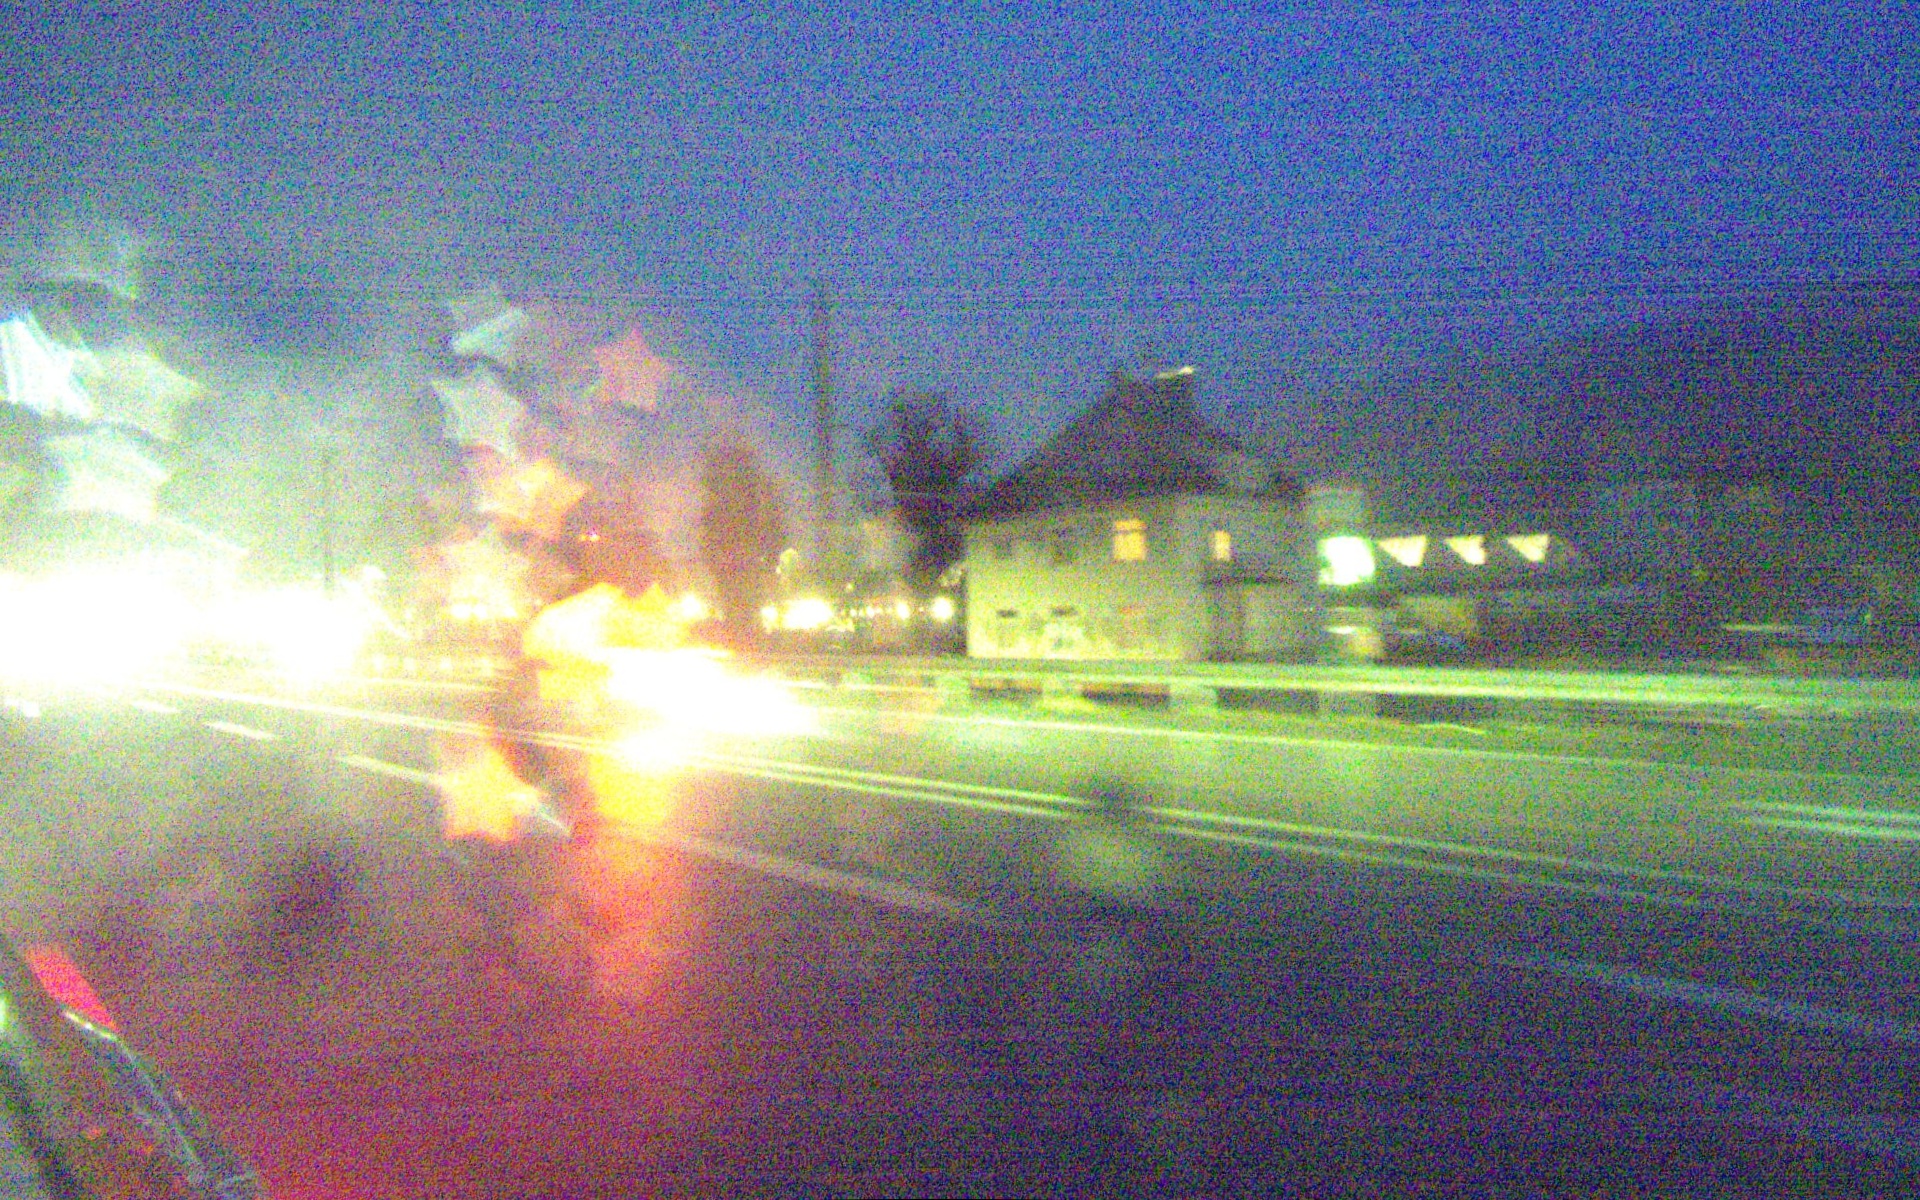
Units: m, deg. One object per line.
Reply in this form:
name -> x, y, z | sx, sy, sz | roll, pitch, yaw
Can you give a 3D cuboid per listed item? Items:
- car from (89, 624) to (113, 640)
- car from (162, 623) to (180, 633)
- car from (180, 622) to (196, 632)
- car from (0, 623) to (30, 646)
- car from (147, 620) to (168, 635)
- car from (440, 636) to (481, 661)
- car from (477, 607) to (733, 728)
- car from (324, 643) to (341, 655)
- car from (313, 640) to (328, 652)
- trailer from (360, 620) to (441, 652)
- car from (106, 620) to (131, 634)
car -> -114.785, 4.318, 135.323 | 1.967, 2.029, 4.011 | -1, 0, -34
car -> -127.444, 4.578, 163.445 | 1.774, 1.531, 4.548 | 0, -1, -32
car -> -136.114, 4.742, 178.485 | 1.664, 1.693, 3.478 | 0, -1, -28
car -> -86.761, 3.168, 92.923 | 1.970, 2.029, 4.003 | -1, 0, -44
car -> -118.838, 4.003, 149.900 | 1.966, 2.090, 4.011 | -1, 0, -33
car -> -43.449, 4.160, 87.975 | 4.002, 2.029, 1.971 | -1, 0, 45
car -> -5.537, 0.954, 15.634 | 3.892, 1.612, 1.864 | -1, 0, 37
car -> -89.111, 6.957, 143.739 | 1.783, 1.582, 4.306 | -1, 0, -29
car -> -102.878, 7.368, 162.779 | 1.783, 1.688, 4.306 | -1, 0, -29
trailer -> -92.401, 5.875, 167.412 | 3.334, 4.832, 11.405 | -1, 0, 39
car -> -105.369, 3.337, 126.756 | 1.966, 1.625, 4.624 | 0, -1, -33
